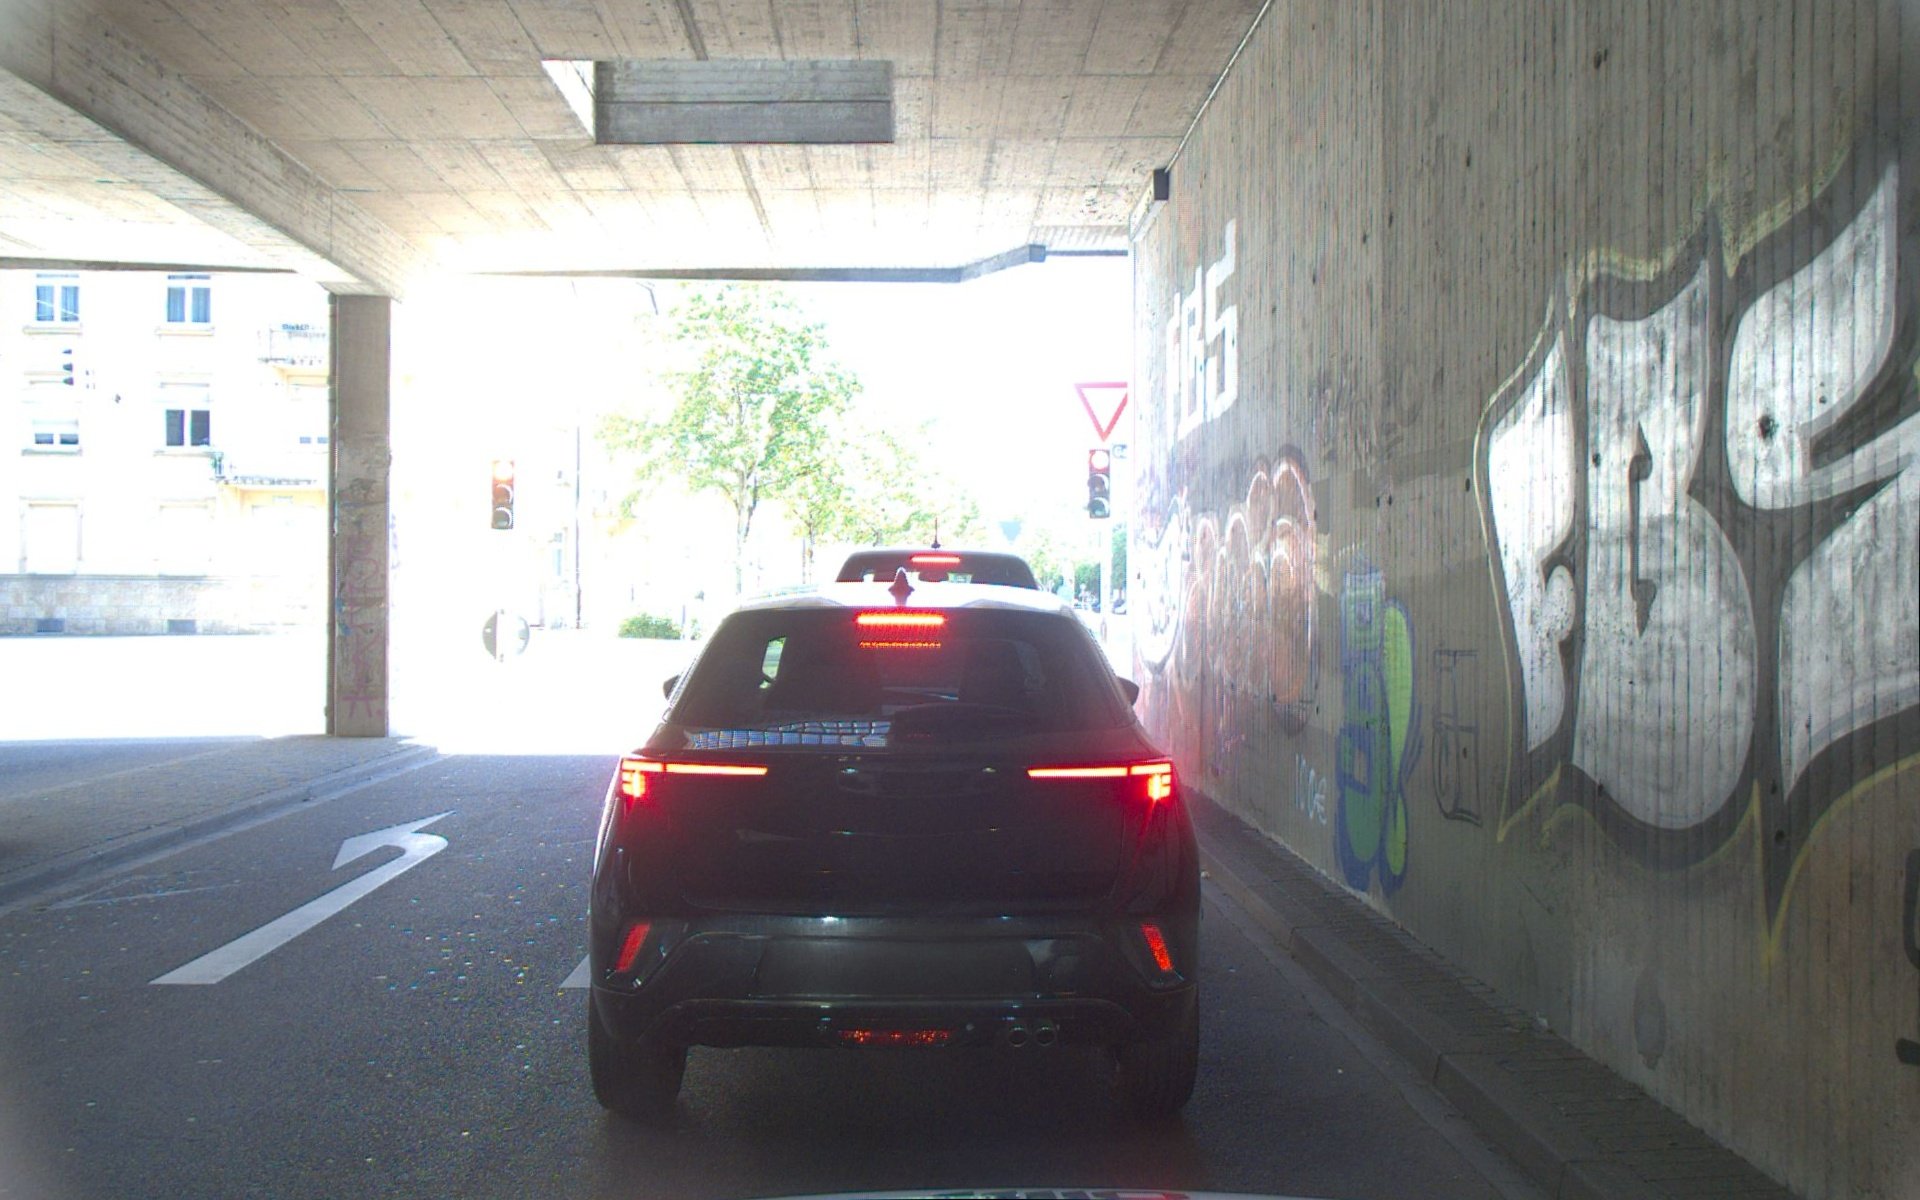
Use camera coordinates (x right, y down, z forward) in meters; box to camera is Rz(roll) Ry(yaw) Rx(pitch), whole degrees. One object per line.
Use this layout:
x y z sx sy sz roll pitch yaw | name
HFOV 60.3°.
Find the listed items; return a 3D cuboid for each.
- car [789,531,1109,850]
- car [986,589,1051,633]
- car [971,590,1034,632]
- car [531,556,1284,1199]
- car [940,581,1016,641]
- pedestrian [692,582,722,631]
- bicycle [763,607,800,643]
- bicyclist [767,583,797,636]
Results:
-0.093 0.529 11.877 1.906 1.892 3.963 0 0 -1 | car
2.477 0.478 69.030 2.173 1.749 4.463 0 -1 9 | car
1.631 0.436 62.208 1.926 1.523 3.899 0 -1 8 | car
-0.154 0.668 6.053 1.844 1.565 3.963 0 0 -1 | car
0.503 0.332 44.171 1.927 1.523 3.896 0 -1 1 | car
-10.622 0.261 69.340 0.971 2.049 1.089 0 0 7 | pedestrian
-5.549 0.767 51.415 0.716 1.086 1.690 1 0 9 | bicycle
-5.530 0.302 51.449 0.713 1.609 0.815 1 -1 9 | bicyclist
